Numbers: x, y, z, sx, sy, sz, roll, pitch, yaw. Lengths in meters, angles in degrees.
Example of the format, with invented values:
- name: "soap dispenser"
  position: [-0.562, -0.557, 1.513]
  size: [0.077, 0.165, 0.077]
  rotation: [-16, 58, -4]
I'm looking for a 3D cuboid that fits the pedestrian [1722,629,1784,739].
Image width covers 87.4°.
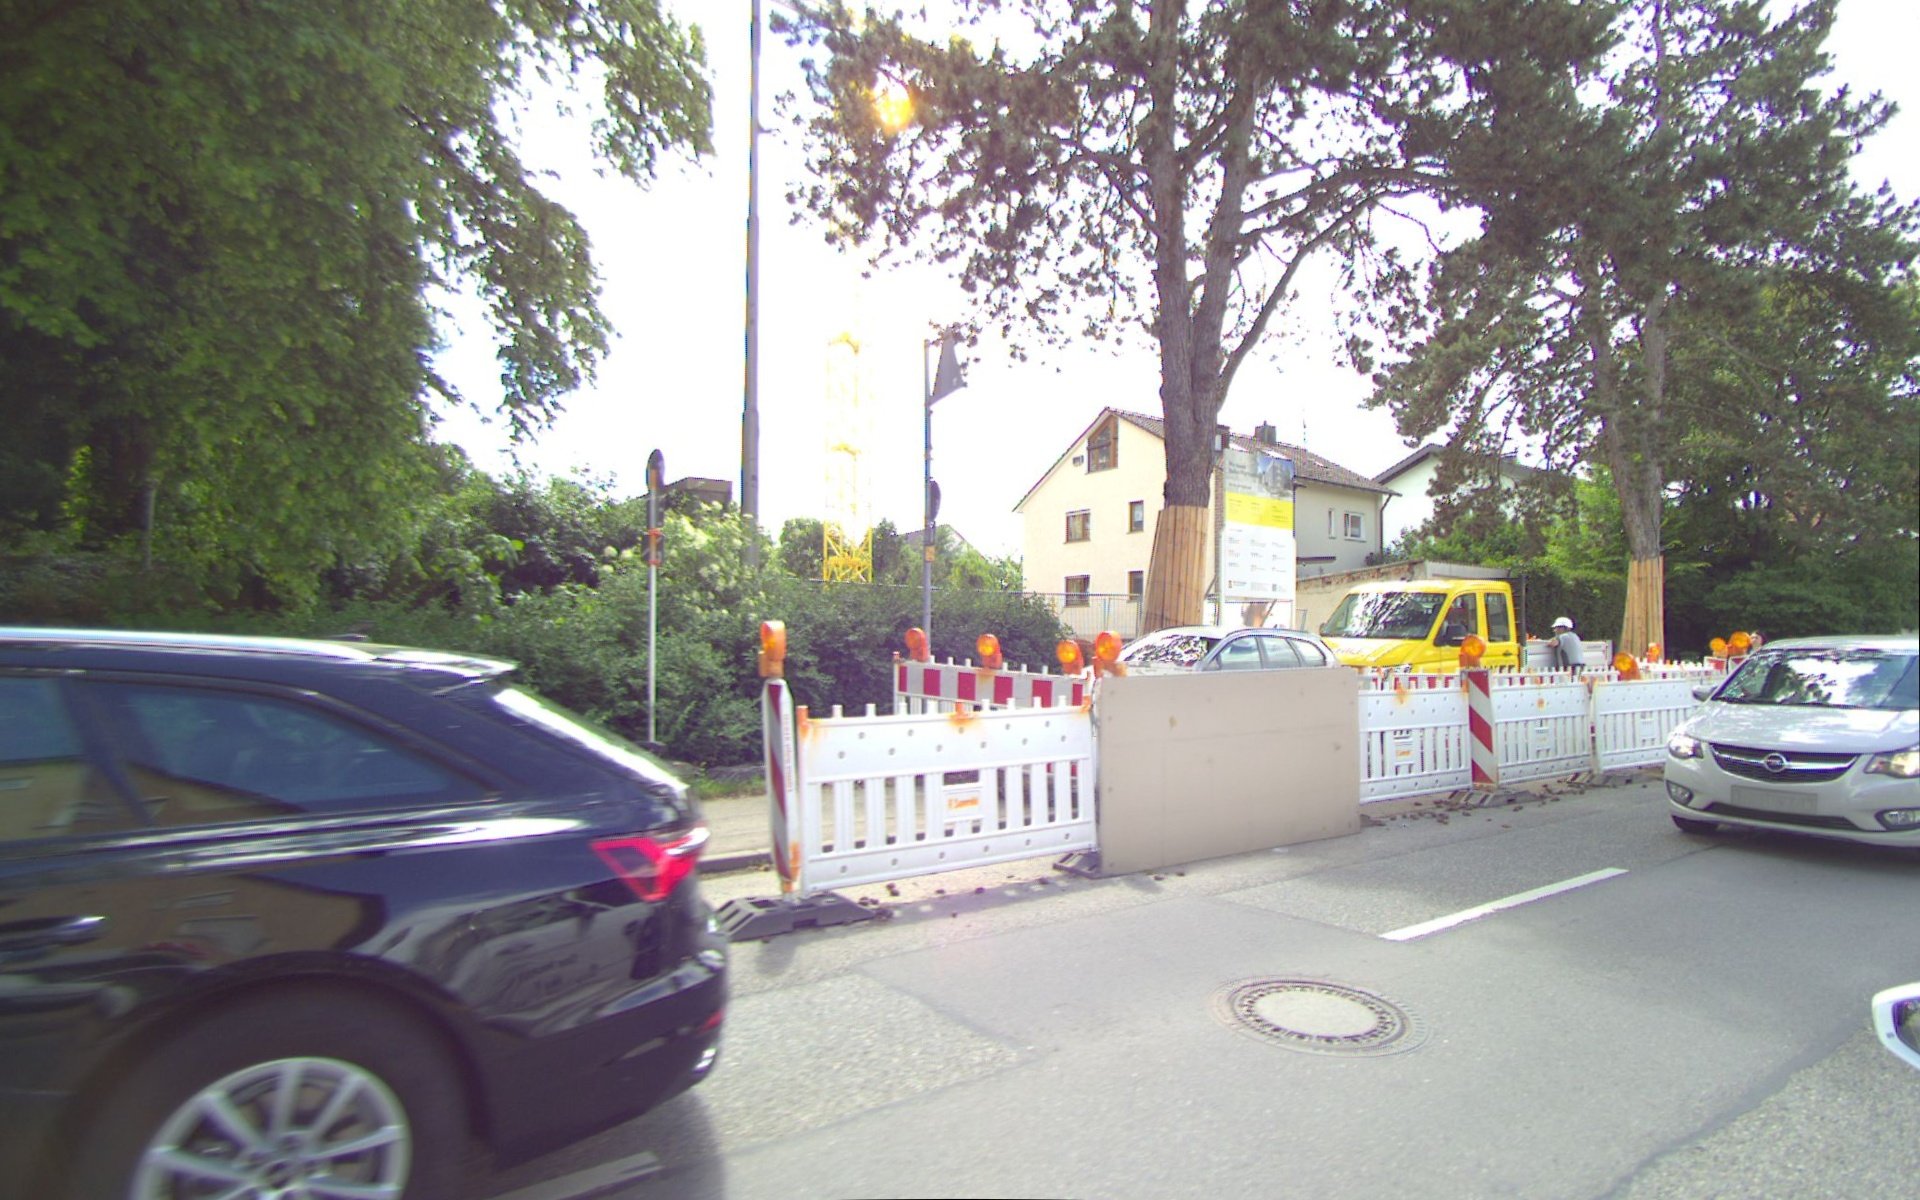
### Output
- name: "pedestrian"
  position: [12.036, 1.255, 15.259]
  size: [0.526, 1.622, 0.572]
  rotation: [1, -1, 10]

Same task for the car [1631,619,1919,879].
- name: "car"
  position: [6.768, 0.964, 7.596]
  size: [3.533, 1.543, 1.605]
  rotation: [2, -3, -34]

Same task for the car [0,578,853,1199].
- name: "car"
  position: [-2.679, 0.742, 2.310]
  size: [4.503, 1.543, 1.812]
  rotation: [2, -2, -28]

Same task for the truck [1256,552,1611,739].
- name: "truck"
  position: [7.598, 0.717, 15.830]
  size: [6.030, 2.451, 2.292]
  rotation: [2, -2, -34]

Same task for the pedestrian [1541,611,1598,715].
- name: "pedestrian"
  position: [9.482, 0.960, 15.615]
  size: [0.649, 1.568, 0.569]
  rotation: [2, -2, -40]

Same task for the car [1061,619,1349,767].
- name: "car"
  position: [3.046, 1.016, 12.190]
  size: [3.554, 1.528, 1.610]
  rotation: [2, -1, -40]
